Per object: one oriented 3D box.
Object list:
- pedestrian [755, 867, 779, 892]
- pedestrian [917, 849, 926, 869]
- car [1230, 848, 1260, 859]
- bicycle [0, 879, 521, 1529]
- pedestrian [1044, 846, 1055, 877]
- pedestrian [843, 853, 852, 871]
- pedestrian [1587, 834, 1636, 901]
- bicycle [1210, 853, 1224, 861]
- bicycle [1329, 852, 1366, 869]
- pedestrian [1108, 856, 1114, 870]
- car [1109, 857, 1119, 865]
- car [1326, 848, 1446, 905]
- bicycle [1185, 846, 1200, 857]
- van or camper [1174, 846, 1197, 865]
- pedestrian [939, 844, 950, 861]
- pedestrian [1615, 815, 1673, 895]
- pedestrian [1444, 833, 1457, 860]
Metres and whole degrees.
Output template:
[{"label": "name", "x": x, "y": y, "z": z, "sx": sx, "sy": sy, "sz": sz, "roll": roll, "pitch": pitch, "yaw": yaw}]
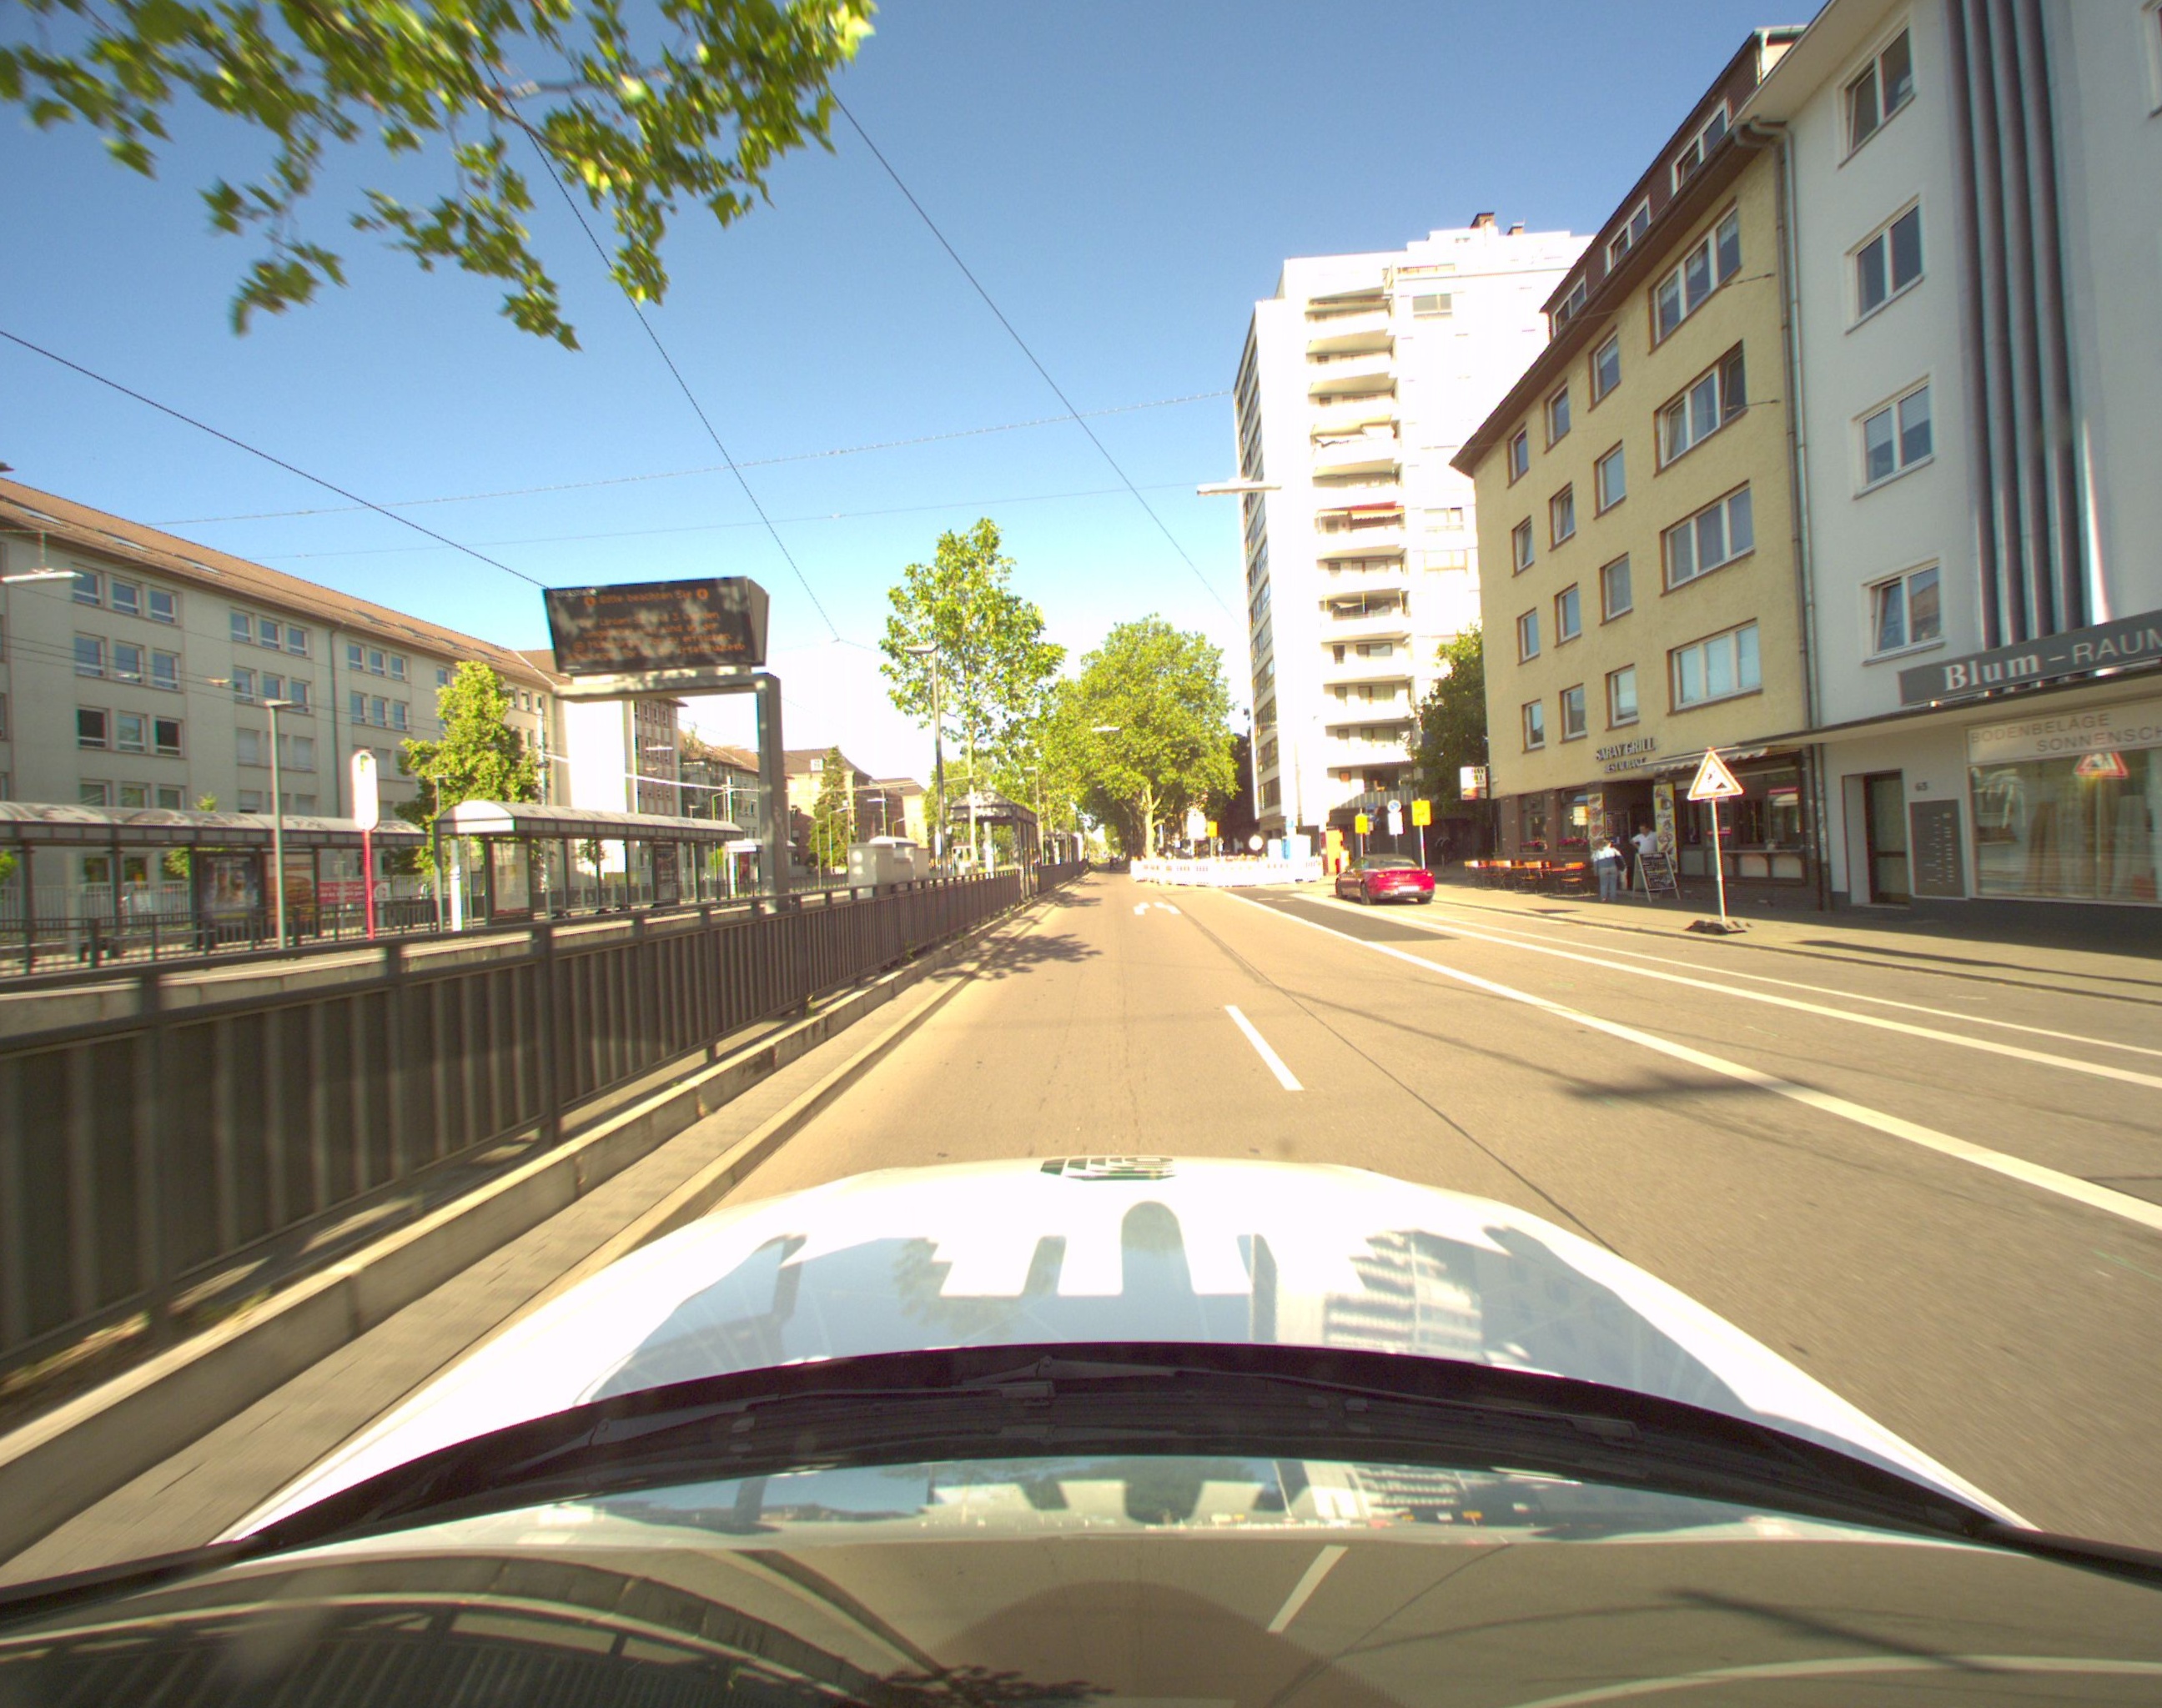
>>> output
[{"label": "pedestrian", "x": -18.282, "y": 1.494, "z": 47.428, "sx": 0.971, "sy": 1.376, "sz": 0.879, "roll": -2, "pitch": 0, "yaw": 1}, {"label": "pedestrian", "x": -16.882, "y": 0.541, "z": 86.277, "sx": 0.660, "sy": 2.013, "sz": 0.861, "roll": -3, "pitch": 0, "yaw": 2}, {"label": "car", "x": 27.263, "y": -0.044, "z": 135.261, "sx": 4.550, "sy": 1.581, "sz": 2.009, "roll": -3, "pitch": 0, "yaw": 17}, {"label": "bicycle", "x": -2.688, "y": 0.804, "z": 2.249, "sx": 0.637, "sy": 1.379, "sz": 2.171, "roll": -2, "pitch": 0, "yaw": 3}, {"label": "pedestrian", "x": -2.123, "y": 0.507, "z": 54.506, "sx": 0.665, "sy": 2.013, "sz": 0.716, "roll": -2, "pitch": 0, "yaw": 0}, {"label": "pedestrian", "x": -24.919, "y": 0.875, "z": 87.052, "sx": 0.690, "sy": 1.837, "sz": 0.573, "roll": -3, "pitch": 0, "yaw": 1}, {"label": "pedestrian", "x": 12.354, "y": 0.307, "z": 18.980, "sx": 0.668, "sy": 1.506, "sz": 0.652, "roll": -2, "pitch": -1, "yaw": 2}, {"label": "bicycle", "x": 21.271, "y": 0.421, "z": 127.182, "sx": 2.118, "sy": 1.103, "sz": 0.511, "roll": -3, "pitch": -1, "yaw": 27}, {"label": "bicycle", "x": 15.906, "y": 0.390, "z": 48.676, "sx": 2.010, "sy": 0.943, "sz": 1.023, "roll": -2, "pitch": 0, "yaw": 21}, {"label": "pedestrian", "x": 3.556, "y": 1.070, "z": 97.111, "sx": 0.709, "sy": 1.680, "sz": 0.772, "roll": -2, "pitch": 0, "yaw": 1}, {"label": "car", "x": 6.720, "y": 1.399, "z": 166.986, "sx": 2.014, "sy": 1.662, "sz": 4.002, "roll": -2, "pitch": 0, "yaw": 2}, {"label": "car", "x": 8.946, "y": 0.606, "z": 24.387, "sx": 1.864, "sy": 1.443, "sz": 5.163, "roll": -2, "pitch": 0, "yaw": 3}, {"label": "bicycle", "x": 13.624, "y": -0.308, "z": 99.208, "sx": 1.600, "sy": 1.263, "sz": 0.962, "roll": -3, "pitch": -1, "yaw": -3}, {"label": "van or camper", "x": 13.214, "y": 0.202, "z": 102.981, "sx": 2.282, "sy": 2.286, "sz": 5.825, "roll": -2, "pitch": 0, "yaw": 2}, {"label": "pedestrian", "x": -15.066, "y": -0.163, "z": 89.994, "sx": 0.948, "sy": 1.736, "sz": 0.731, "roll": -3, "pitch": 0, "yaw": 4}, {"label": "pedestrian", "x": 13.590, "y": 0.032, "z": 19.684, "sx": 0.725, "sy": 1.854, "sz": 0.902, "roll": -2, "pitch": -1, "yaw": 5}, {"label": "pedestrian", "x": 24.740, "y": -0.498, "z": 54.527, "sx": 0.652, "sy": 1.854, "sz": 0.679, "roll": 0, "pitch": -1, "yaw": 4}]
